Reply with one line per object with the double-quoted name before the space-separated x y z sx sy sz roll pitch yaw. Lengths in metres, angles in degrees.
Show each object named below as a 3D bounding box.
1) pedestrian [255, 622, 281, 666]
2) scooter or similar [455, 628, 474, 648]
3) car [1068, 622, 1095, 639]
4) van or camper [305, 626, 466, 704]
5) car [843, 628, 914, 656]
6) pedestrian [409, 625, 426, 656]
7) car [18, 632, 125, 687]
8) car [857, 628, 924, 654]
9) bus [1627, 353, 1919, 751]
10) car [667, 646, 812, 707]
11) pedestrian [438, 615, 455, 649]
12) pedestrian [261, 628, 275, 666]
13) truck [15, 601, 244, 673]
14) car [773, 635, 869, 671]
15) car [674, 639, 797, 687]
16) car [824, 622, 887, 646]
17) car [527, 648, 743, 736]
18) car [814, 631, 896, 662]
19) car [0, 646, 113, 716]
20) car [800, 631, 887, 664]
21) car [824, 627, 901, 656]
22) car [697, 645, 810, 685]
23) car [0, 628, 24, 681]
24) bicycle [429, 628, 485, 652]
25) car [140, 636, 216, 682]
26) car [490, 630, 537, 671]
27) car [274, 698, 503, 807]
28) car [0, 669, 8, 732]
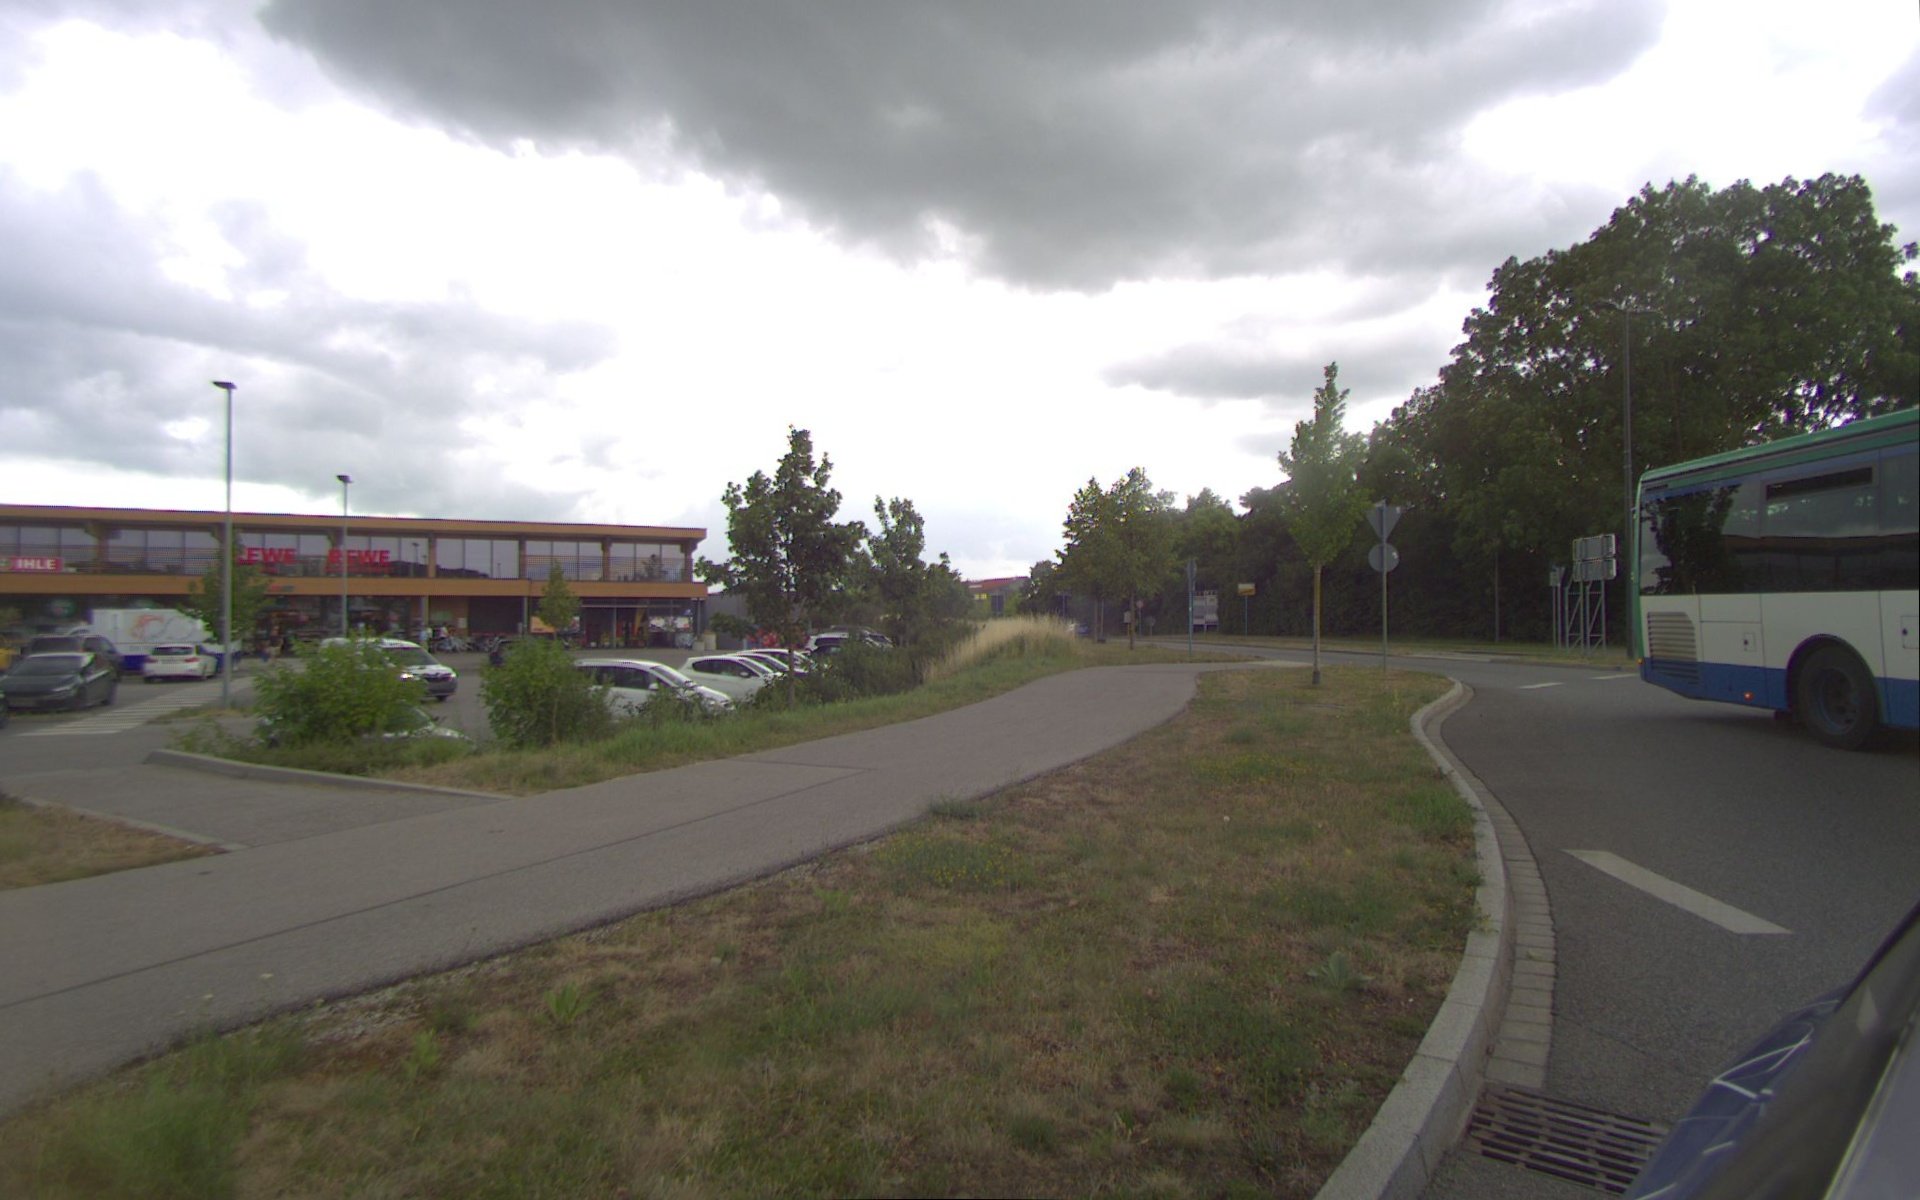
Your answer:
"pedestrian" -32.652 2.078 47.754 0.913 2.039 0.806 0 -1 -30
"scooter or similar" -29.164 2.235 59.575 0.982 1.141 0.794 0 -3 -29
"car" 11.266 2.843 94.053 1.728 1.449 4.083 -2 -3 -4
"van or camper" -17.076 1.940 30.024 4.754 2.125 1.750 -3 -2 25
"car" -4.625 2.381 57.758 3.823 1.483 1.694 -1 -1 7
"pedestrian" -29.662 2.196 55.339 0.788 1.678 0.751 0 -1 -25
"car" -32.240 2.103 36.862 1.814 1.747 4.126 -2 0 -25
"car" -4.228 2.492 61.685 3.823 1.483 1.694 -1 -1 7
"bus" 9.369 -0.432 9.921 2.481 3.299 5.452 0 1 6
"car" -6.395 2.220 29.687 3.920 1.527 2.002 -1 0 -5
"pedestrian" -30.007 1.861 59.134 0.910 1.923 0.794 0 -4 -29
"pedestrian" -36.811 2.497 53.857 0.514 1.974 0.579 0 -1 -25
"truck" -35.174 1.497 43.296 7.111 2.843 2.979 0 -1 -29
"car" -5.973 2.274 43.812 3.823 1.483 1.694 -1 -1 7
"car" -7.010 1.944 31.820 3.602 1.311 1.718 -1 0 -6
"car" -6.688 2.158 64.690 3.918 1.462 1.886 -1 -1 -8
"car" -7.387 2.067 23.286 4.363 1.694 1.799 2 0 3
"car" -5.243 2.348 50.819 3.823 1.483 1.694 -1 -1 7
"car" -24.109 2.099 26.899 1.697 1.573 4.004 0 -1 -29
"car" -5.467 2.211 47.712 3.823 1.483 1.694 -1 -1 7
"car" -5.179 2.214 53.986 3.823 1.483 1.694 -1 -1 7
"car" -7.223 2.261 35.507 3.613 1.311 1.413 0 -1 7
"car" -35.326 1.972 36.046 1.736 1.878 4.006 -1 -1 -24
"bicycle" -28.807 2.277 58.014 2.810 1.326 0.981 0 -1 -25
"car" -29.618 2.191 38.439 1.697 1.549 4.004 0 -1 -29
"car" -19.081 2.120 43.203 1.680 1.588 3.675 0 -1 -26
"car" -9.323 2.399 16.457 3.698 1.390 1.565 -2 -1 29
"car" -21.841 2.282 21.182 1.799 1.416 4.004 0 0 -28
